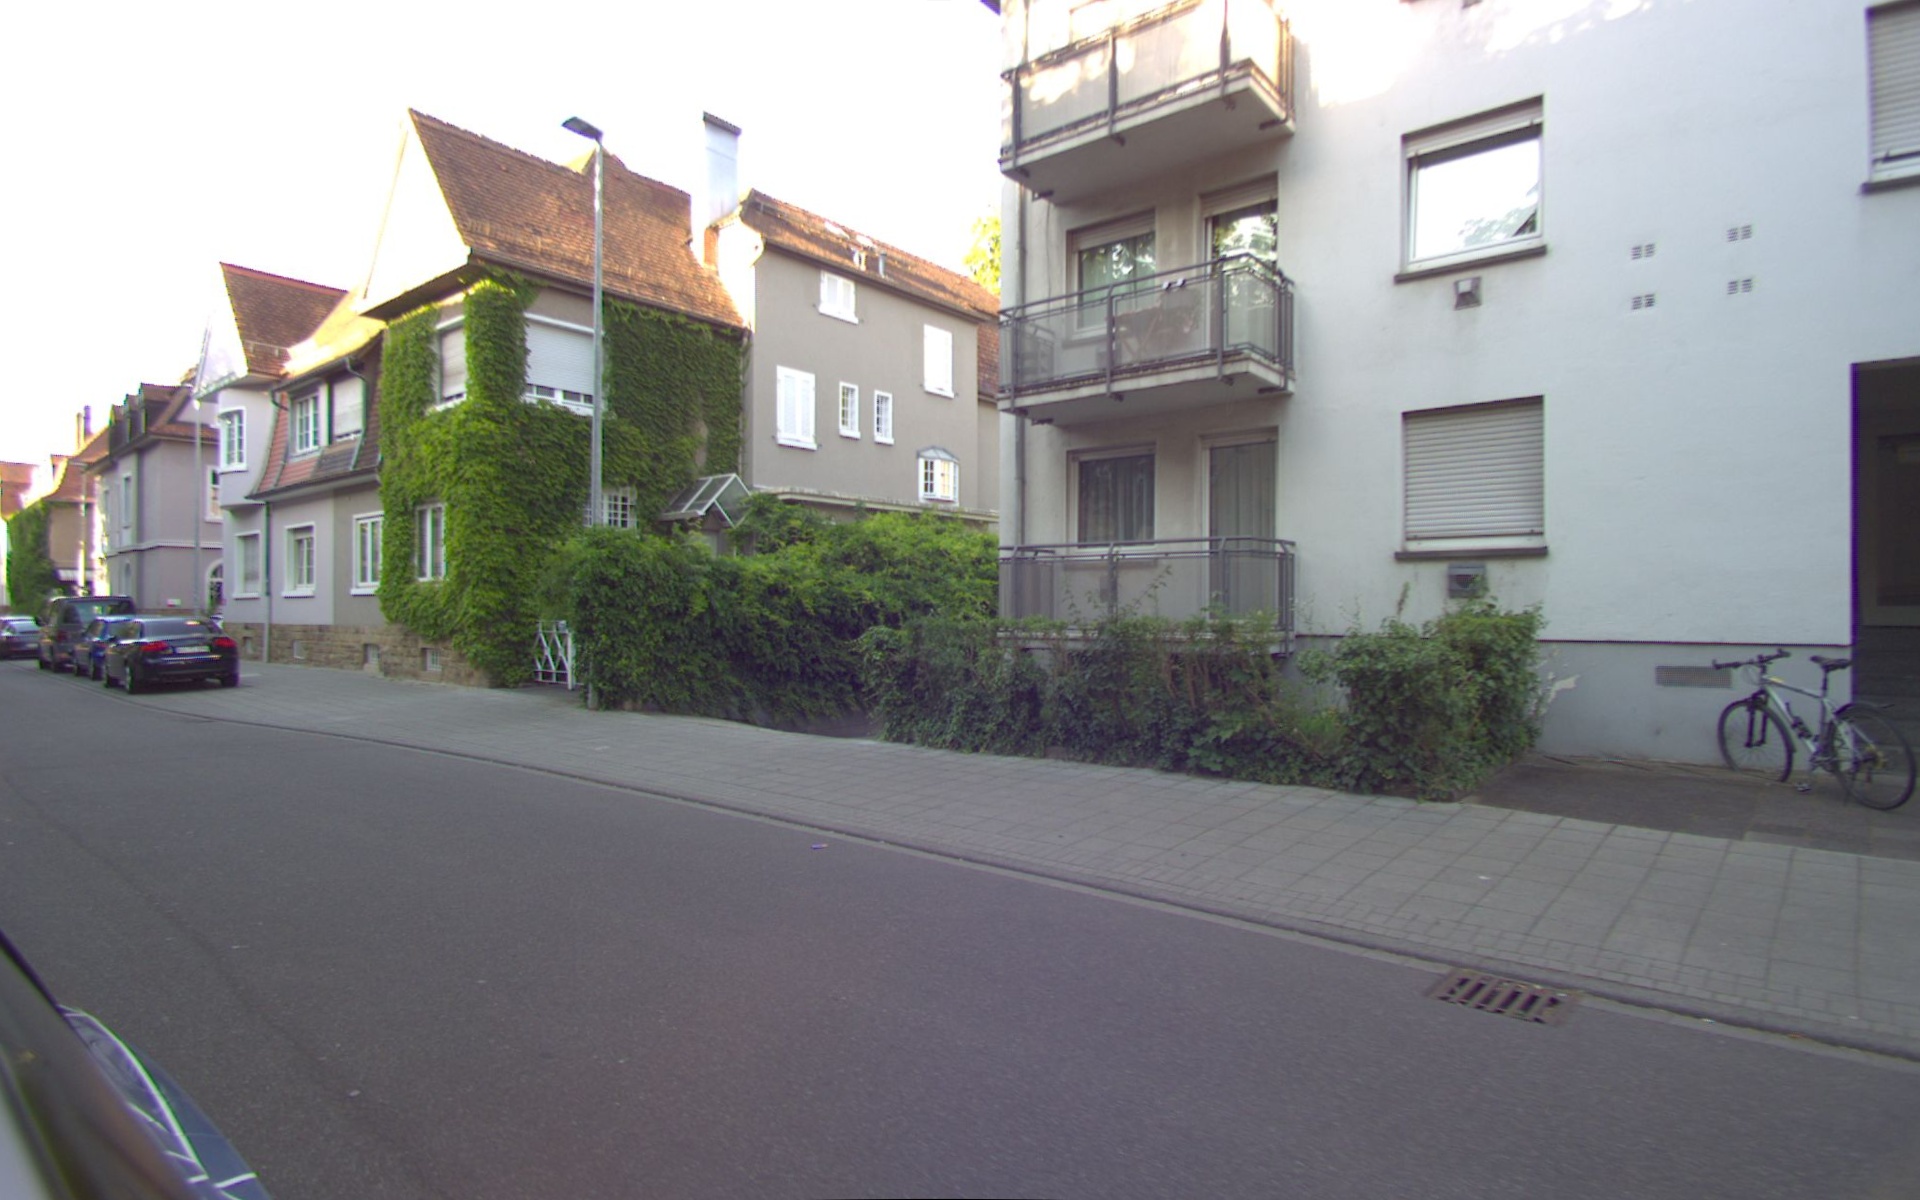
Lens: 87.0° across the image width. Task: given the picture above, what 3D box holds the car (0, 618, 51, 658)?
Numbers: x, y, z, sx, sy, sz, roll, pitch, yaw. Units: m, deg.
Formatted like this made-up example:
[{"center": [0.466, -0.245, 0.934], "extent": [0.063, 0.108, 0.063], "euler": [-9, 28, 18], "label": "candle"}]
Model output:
[{"center": [-36.743, 1.455, 39.174], "extent": [4.287, 1.438, 1.797], "euler": [-1, 0, 41], "label": "car"}]

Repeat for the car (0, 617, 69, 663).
[{"center": [-32.612, 1.359, 35.273], "extent": [4.287, 1.438, 1.797], "euler": [-1, 0, 41], "label": "car"}]

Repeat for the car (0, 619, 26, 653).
[{"center": [-42.800, 1.582, 44.692], "extent": [4.287, 1.438, 1.797], "euler": [-1, 0, 41], "label": "car"}]

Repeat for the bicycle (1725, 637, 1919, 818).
[{"center": [6.241, 0.830, 7.134], "extent": [0.470, 1.027, 1.608], "euler": [0, 1, 0], "label": "bicycle"}]

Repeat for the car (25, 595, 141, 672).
[{"center": [-23.939, 0.875, 27.563], "extent": [4.287, 1.920, 1.797], "euler": [-1, 0, 41], "label": "car"}]

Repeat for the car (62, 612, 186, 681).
[{"center": [-20.165, 1.067, 24.362], "extent": [3.998, 1.465, 1.671], "euler": [-1, 0, 41], "label": "car"}]

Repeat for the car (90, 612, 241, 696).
[{"center": [-15.985, 1.018, 20.291], "extent": [3.998, 1.465, 1.671], "euler": [-1, 0, 41], "label": "car"}]
